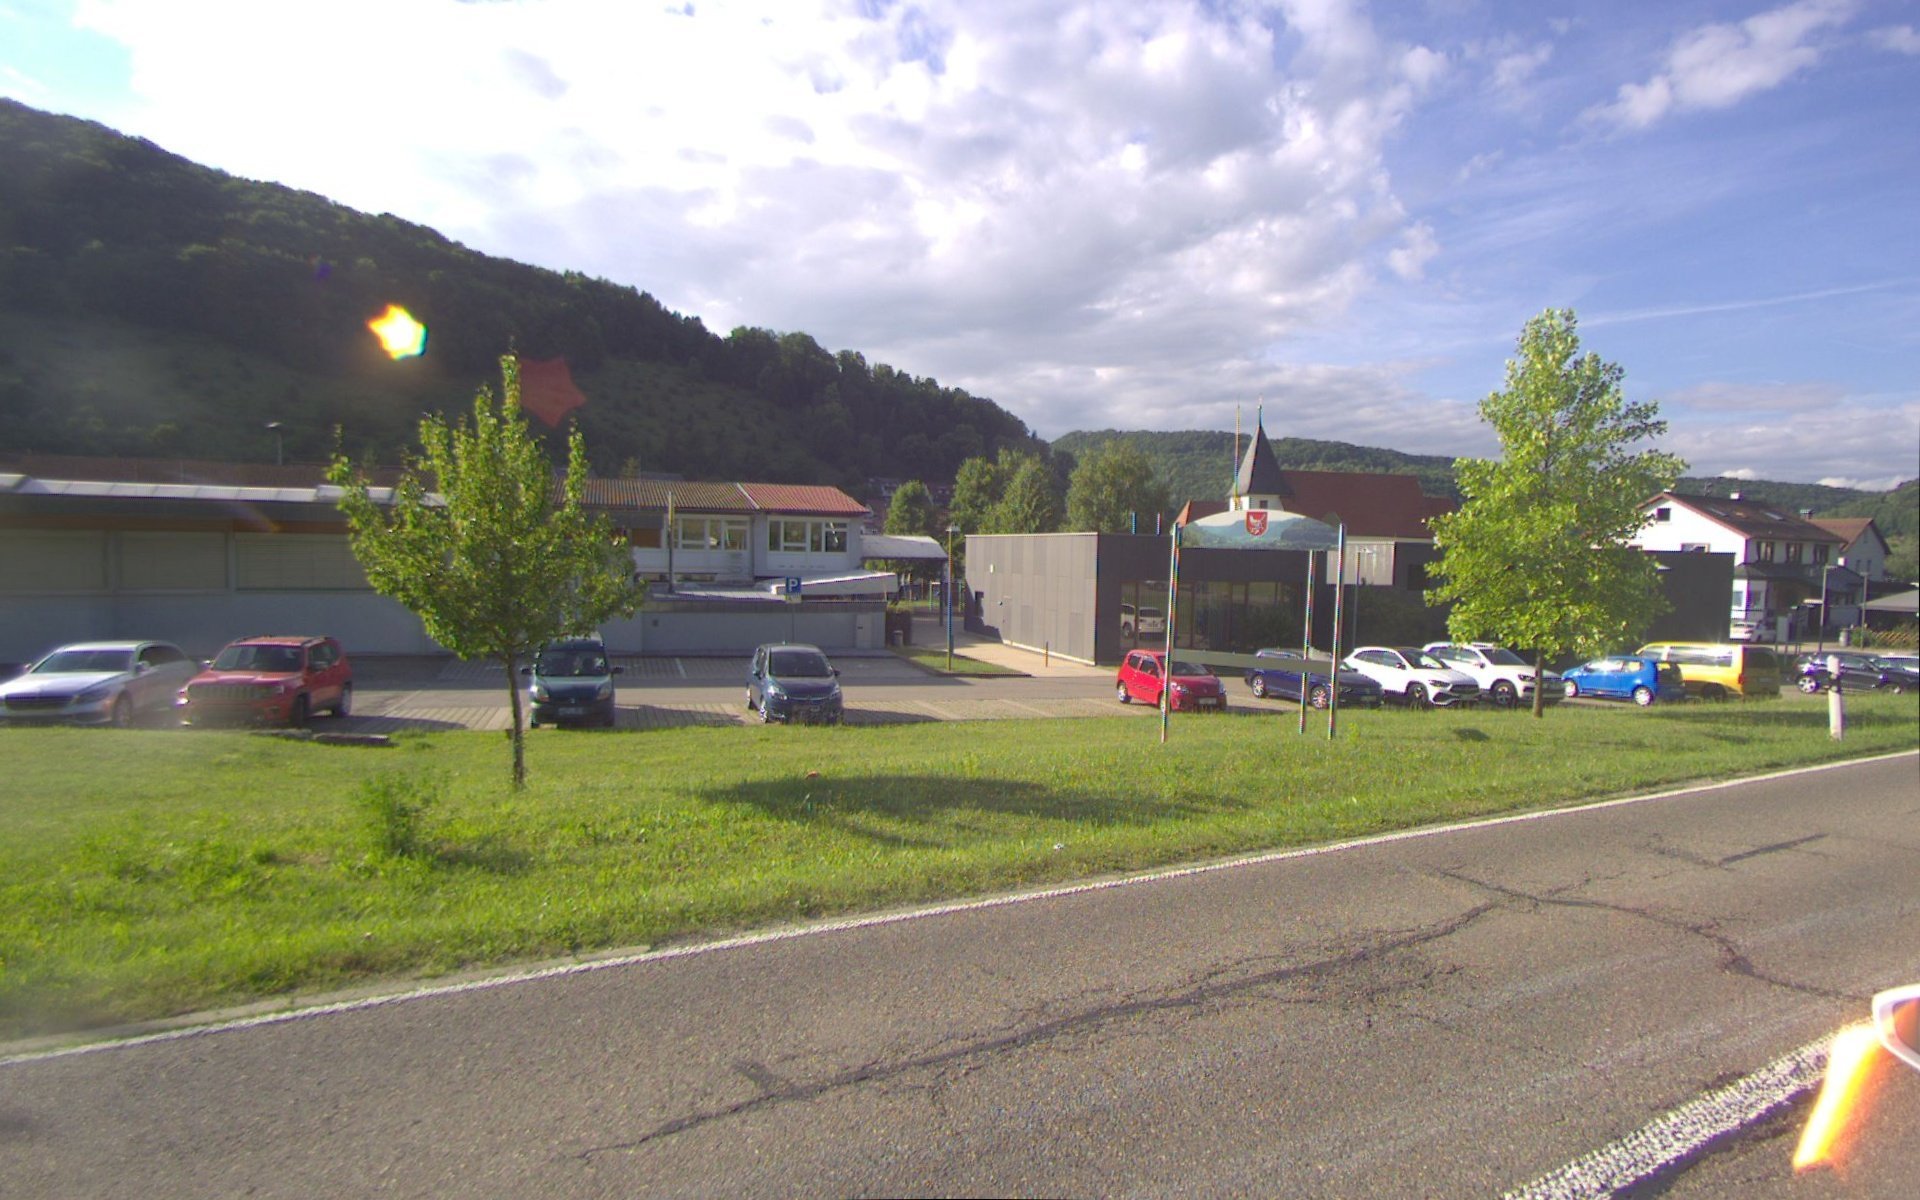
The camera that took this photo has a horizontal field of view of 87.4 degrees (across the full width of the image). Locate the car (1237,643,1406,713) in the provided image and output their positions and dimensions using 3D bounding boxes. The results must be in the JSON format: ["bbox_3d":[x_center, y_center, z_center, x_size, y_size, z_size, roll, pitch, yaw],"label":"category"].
[{"bbox_3d":[10.003,2.114,28.191,1.970,1.575,4.531,2,0,-21],"label":"car"}]

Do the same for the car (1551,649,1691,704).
[{"bbox_3d":[21.400,2.460,32.653,1.610,1.492,3.485,2,0,-23],"label":"car"}]

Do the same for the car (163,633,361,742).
[{"bbox_3d":[-13.245,1.590,19.399,1.818,1.691,4.320,2,0,-17],"label":"car"}]

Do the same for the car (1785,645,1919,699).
[{"bbox_3d":[33.200,2.599,36.877,1.970,1.659,4.018,2,0,-21],"label":"car"}]

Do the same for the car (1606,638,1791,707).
[{"bbox_3d":[24.089,2.325,33.013,1.968,1.893,4.608,2,0,-17],"label":"car"}]

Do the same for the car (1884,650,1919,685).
[{"bbox_3d":[39.382,2.761,39.618,1.737,1.327,3.975,2,0,-25],"label":"car"}]

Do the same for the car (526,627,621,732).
[{"bbox_3d":[-8.393,1.605,21.700,1.660,1.817,4.980,2,0,-22],"label":"car"}]

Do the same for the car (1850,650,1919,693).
[{"bbox_3d":[37.396,2.815,38.358,1.853,1.513,4.806,2,0,-21],"label":"car"}]

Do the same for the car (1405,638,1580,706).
[{"bbox_3d":[16.130,2.130,30.694,1.970,1.725,4.531,2,0,-21],"label":"car"}]

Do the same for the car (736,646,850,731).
[{"bbox_3d":[-3.834,1.891,22.542,1.660,1.471,3.998,-1,1,-23],"label":"car"}]

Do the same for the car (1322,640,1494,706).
[{"bbox_3d":[12.965,2.068,29.403,1.970,1.575,4.531,2,0,-21],"label":"car"}]

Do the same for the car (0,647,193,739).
[{"bbox_3d":[-16.145,1.647,18.698,1.825,1.386,3.881,2,-1,-20],"label":"car"}]

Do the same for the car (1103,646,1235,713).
[{"bbox_3d":[5.350,2.012,26.133,1.592,1.416,3.715,2,0,-21],"label":"car"}]

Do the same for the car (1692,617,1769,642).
[{"bbox_3d":[50.452,1.898,65.803,3.927,1.461,1.767,2,0,-9],"label":"car"}]
